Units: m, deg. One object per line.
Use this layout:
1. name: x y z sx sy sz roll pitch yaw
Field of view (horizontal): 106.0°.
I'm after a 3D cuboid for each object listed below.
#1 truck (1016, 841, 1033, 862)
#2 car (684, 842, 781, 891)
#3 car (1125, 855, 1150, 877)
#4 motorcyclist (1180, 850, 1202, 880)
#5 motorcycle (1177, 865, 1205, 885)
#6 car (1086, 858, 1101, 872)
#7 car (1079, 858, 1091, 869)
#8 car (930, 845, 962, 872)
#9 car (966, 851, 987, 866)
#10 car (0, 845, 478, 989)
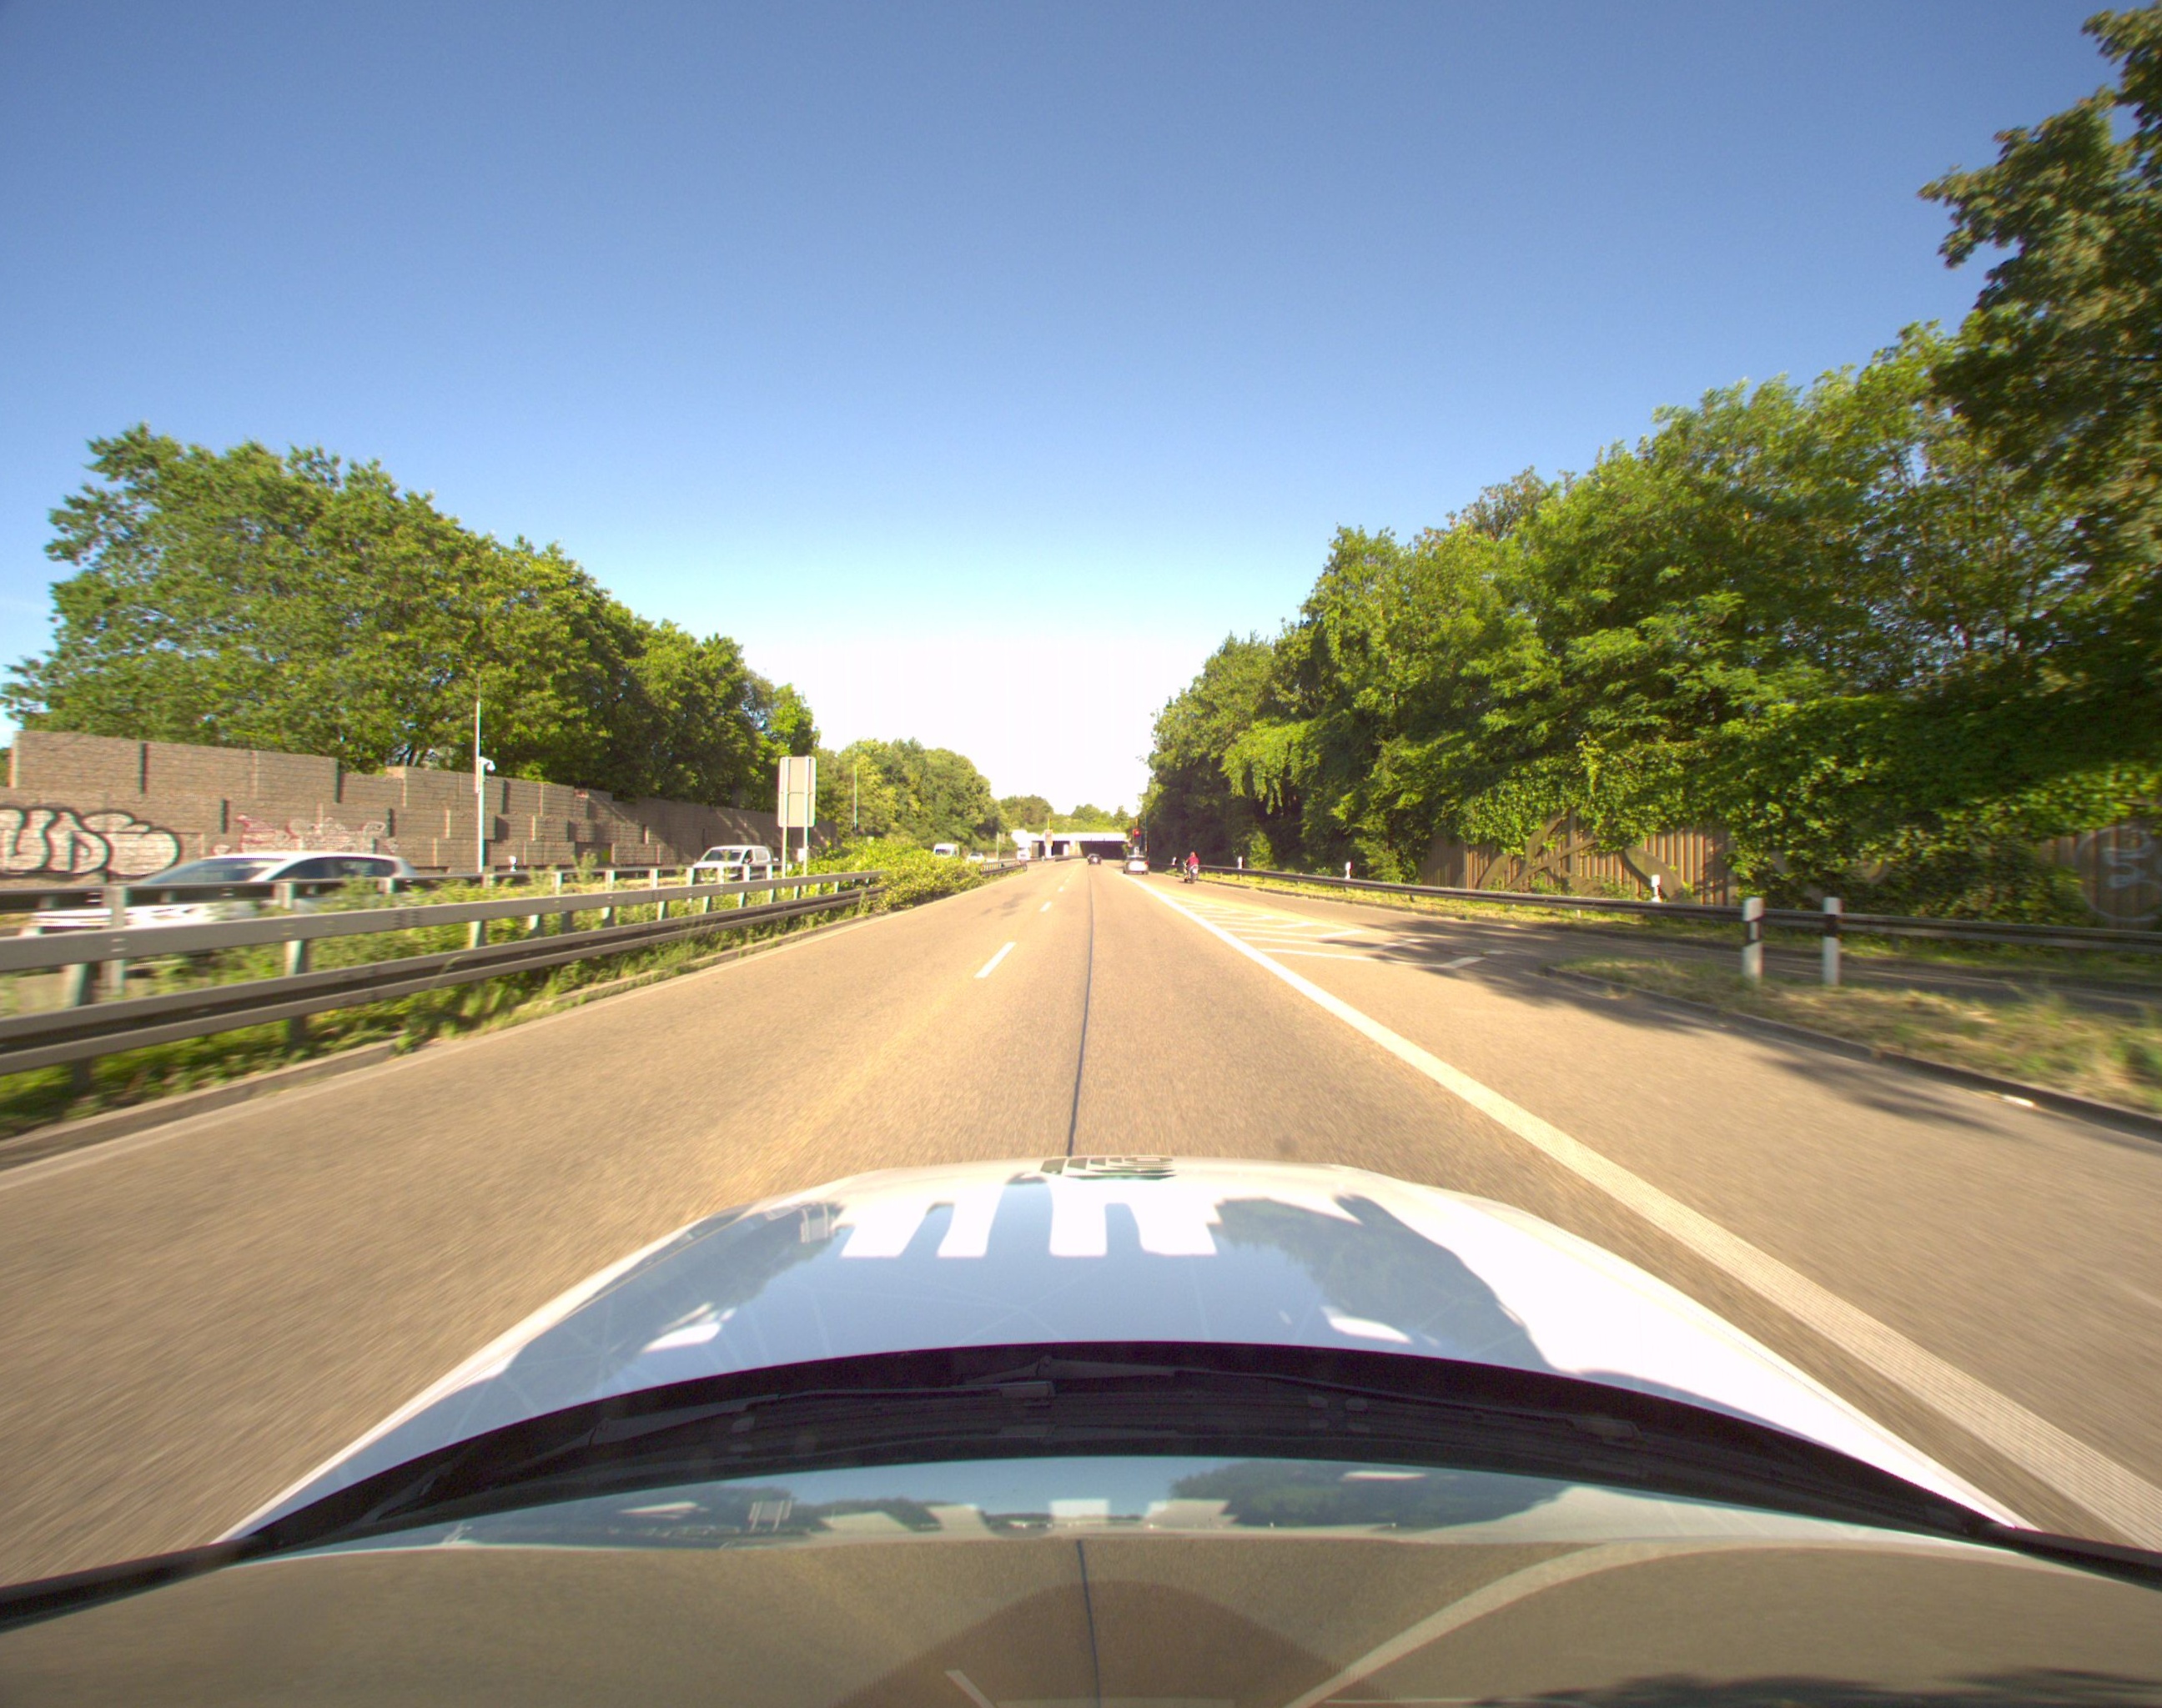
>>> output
1. truck: -11.887 -0.539 172.506 2.725 4.261 6.390 2 1 2
2. car: -14.003 0.443 33.074 1.815 1.821 4.623 2 1 1
3. car: 4.349 0.910 63.081 1.661 1.552 4.001 2 1 1
4. motorcyclist: 5.739 0.584 42.542 0.882 1.501 1.061 2 1 -6
5. motorcycle: 5.723 1.080 42.554 0.857 0.991 2.723 2 0 -5
6. car: 1.846 1.630 119.733 1.986 1.925 4.002 1 0 2
7. car: 0.768 1.743 151.887 1.986 1.925 4.002 1 0 2
8. car: -13.901 0.448 83.982 2.140 2.611 6.052 2 1 1
9. car: -13.627 0.606 106.395 1.987 1.782 4.785 2 1 1
10. car: -10.839 0.644 11.030 1.816 1.480 4.621 2 1 0
